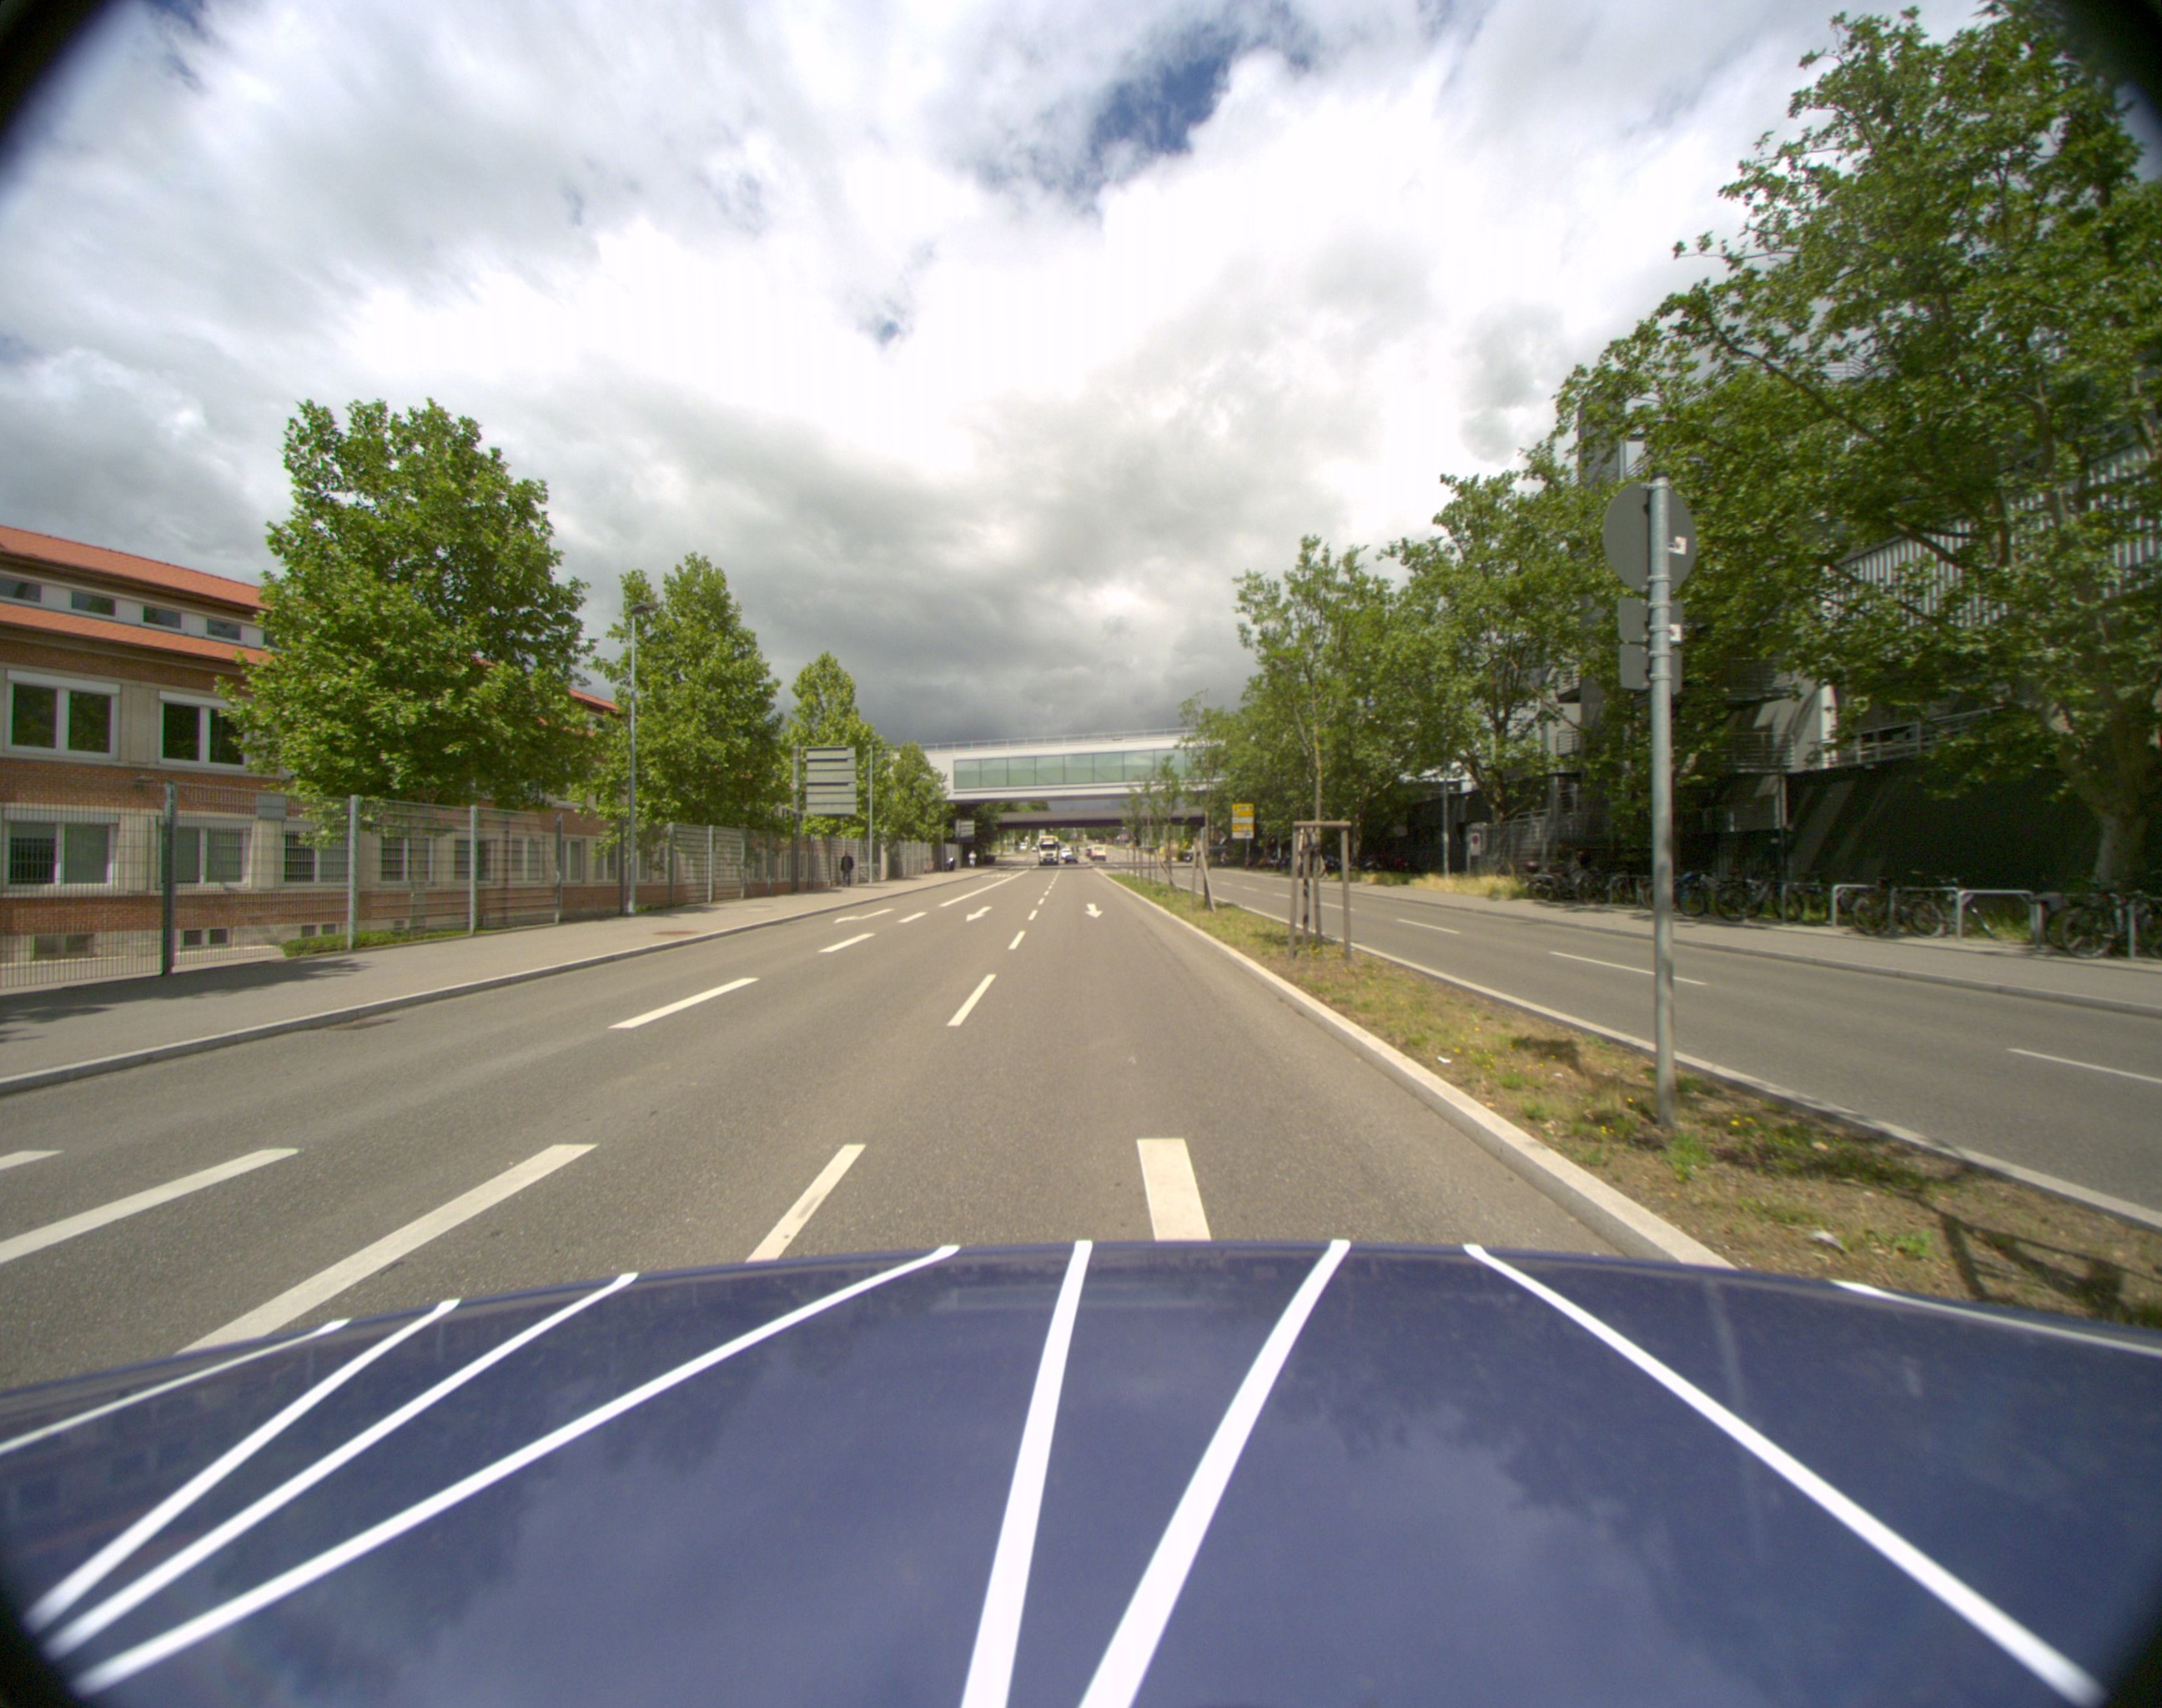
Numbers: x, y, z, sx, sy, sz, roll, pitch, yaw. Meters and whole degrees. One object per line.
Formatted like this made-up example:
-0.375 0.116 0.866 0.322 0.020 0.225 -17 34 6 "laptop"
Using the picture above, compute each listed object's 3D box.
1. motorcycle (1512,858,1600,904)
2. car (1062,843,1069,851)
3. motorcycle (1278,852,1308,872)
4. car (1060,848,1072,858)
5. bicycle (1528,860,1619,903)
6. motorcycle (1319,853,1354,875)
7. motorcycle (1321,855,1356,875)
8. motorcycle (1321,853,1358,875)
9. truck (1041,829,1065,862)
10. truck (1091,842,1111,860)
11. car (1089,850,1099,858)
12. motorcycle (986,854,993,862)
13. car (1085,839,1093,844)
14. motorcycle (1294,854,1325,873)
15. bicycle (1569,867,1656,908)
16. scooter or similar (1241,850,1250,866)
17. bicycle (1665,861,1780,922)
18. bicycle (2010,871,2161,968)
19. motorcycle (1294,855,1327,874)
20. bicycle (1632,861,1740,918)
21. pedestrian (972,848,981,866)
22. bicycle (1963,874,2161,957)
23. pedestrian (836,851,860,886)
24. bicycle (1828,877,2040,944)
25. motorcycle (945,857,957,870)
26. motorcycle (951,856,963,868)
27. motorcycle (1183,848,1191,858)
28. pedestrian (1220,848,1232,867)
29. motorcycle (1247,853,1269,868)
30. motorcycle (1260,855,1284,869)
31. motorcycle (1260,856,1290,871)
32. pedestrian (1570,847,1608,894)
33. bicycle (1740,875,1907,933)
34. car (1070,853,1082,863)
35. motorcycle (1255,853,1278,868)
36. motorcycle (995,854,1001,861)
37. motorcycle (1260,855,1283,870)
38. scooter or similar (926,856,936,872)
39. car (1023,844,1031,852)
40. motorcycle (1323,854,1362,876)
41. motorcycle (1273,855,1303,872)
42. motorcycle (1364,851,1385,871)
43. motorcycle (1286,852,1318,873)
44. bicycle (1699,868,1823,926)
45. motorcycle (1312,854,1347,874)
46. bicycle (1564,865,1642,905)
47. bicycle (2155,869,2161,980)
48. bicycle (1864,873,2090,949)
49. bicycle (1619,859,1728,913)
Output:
14.214 0.789 22.773 2.139 1.301 0.806 -1 1 -2 "motorcycle"
-4.550 -1.996 218.426 1.999 2.002 3.999 -1 0 -1 "car"
15.179 0.575 54.282 1.934 1.283 0.894 -3 -1 20 "motorcycle"
-2.532 -0.214 130.927 1.929 1.728 3.999 -1 0 -1 "car"
14.386 0.801 22.233 2.139 1.173 0.806 -1 1 -2 "bicycle"
15.694 0.611 46.620 1.882 1.202 0.655 -3 -1 3 "motorcycle"
15.422 0.653 45.612 1.880 1.078 0.795 -3 -1 15 "motorcycle"
15.110 0.601 44.489 1.881 1.179 0.730 -3 0 8 "motorcycle"
-3.619 -1.066 99.681 2.787 3.981 10.085 -1 0 -1 "truck"
3.029 -0.493 116.566 2.486 2.735 6.456 -1 0 -3 "truck"
2.493 0.032 146.505 1.713 1.445 4.479 -1 0 0 "car"
-12.196 0.525 101.672 0.679 1.148 2.112 0 1 0 "motorcycle"
2.175 -3.278 207.116 1.998 1.346 4.000 0 1 1 "car"
15.098 0.630 50.329 1.880 1.172 0.816 -3 -1 15 "motorcycle"
14.694 0.912 21.021 2.086 1.056 0.497 -1 1 -2 "bicycle"
13.145 0.346 60.608 0.355 1.229 1.479 -2 2 -1 "scooter or similar"
14.366 0.827 17.051 1.923 1.275 0.806 -1 1 -2 "bicycle"
14.332 0.883 10.427 2.410 1.250 0.556 -1 1 2 "bicycle"
14.845 0.681 49.212 1.881 1.172 0.815 -3 -1 9 "motorcycle"
14.343 0.823 18.046 1.923 1.275 0.806 -1 1 -2 "bicycle"
-11.159 0.298 81.070 0.791 1.877 1.097 0 1 -1 "pedestrian"
14.994 0.906 11.306 2.569 1.151 0.726 -1 1 10 "bicycle"
-11.533 0.708 37.661 0.879 1.733 0.940 1 1 -1 "pedestrian"
14.748 0.959 13.214 2.569 1.089 0.696 0 1 10 "bicycle"
-11.818 0.867 68.981 0.670 1.058 2.246 2 1 -1 "motorcycle"
-11.759 0.786 72.110 0.709 1.058 2.510 2 1 -1 "motorcycle"
12.806 -0.112 91.752 0.641 1.191 2.257 -3 1 -1 "motorcycle"
13.017 0.322 68.242 0.769 1.603 0.813 -3 1 -1 "pedestrian"
15.020 0.520 64.471 1.745 1.164 0.777 -3 -1 8 "motorcycle"
14.980 0.664 59.621 1.595 1.027 0.776 -3 -1 1 "motorcycle"
14.686 0.723 57.459 1.939 1.109 0.920 1 1 -12 "motorcycle"
17.041 0.549 25.502 0.755 1.543 0.821 -1 1 10 "pedestrian"
14.795 0.974 15.158 2.844 1.000 0.850 -1 1 -9 "bicycle"
-0.676 0.574 107.429 1.675 1.390 3.999 -1 0 -1 "car"
15.221 0.523 62.327 1.596 1.116 0.775 -3 -1 -9 "motorcycle"
-11.808 0.480 107.970 0.679 1.076 2.180 0 1 -2 "motorcycle"
15.258 0.656 60.994 1.595 1.116 0.776 -3 -1 1 "motorcycle"
-12.188 0.786 61.782 0.492 1.287 1.336 0 1 -1 "scooter or similar"
-15.337 -1.778 215.942 1.999 2.268 3.997 -1 1 -6 "car"
14.599 0.623 42.464 1.881 1.166 0.746 -3 -1 9 "motorcycle"
15.174 0.685 55.763 1.933 1.109 0.923 -3 -1 27 "motorcycle"
18.745 0.458 48.507 0.654 1.202 1.984 -3 -1 4 "motorcycle"
15.090 0.587 51.912 1.934 1.336 0.866 -3 -1 20 "motorcycle"
14.348 0.892 16.058 1.923 1.116 0.806 -1 1 -2 "bicycle"
15.653 0.630 47.871 1.882 1.172 0.698 -3 -1 3 "motorcycle"
14.746 0.875 21.490 1.929 1.068 0.422 -1 1 -2 "bicycle"
14.314 0.847 9.086 2.172 1.356 0.490 -1 1 2 "bicycle"
14.572 0.927 12.418 2.569 1.151 0.644 -1 1 10 "bicycle"
14.906 0.784 19.160 2.139 1.275 0.806 -1 1 -2 "bicycle"
